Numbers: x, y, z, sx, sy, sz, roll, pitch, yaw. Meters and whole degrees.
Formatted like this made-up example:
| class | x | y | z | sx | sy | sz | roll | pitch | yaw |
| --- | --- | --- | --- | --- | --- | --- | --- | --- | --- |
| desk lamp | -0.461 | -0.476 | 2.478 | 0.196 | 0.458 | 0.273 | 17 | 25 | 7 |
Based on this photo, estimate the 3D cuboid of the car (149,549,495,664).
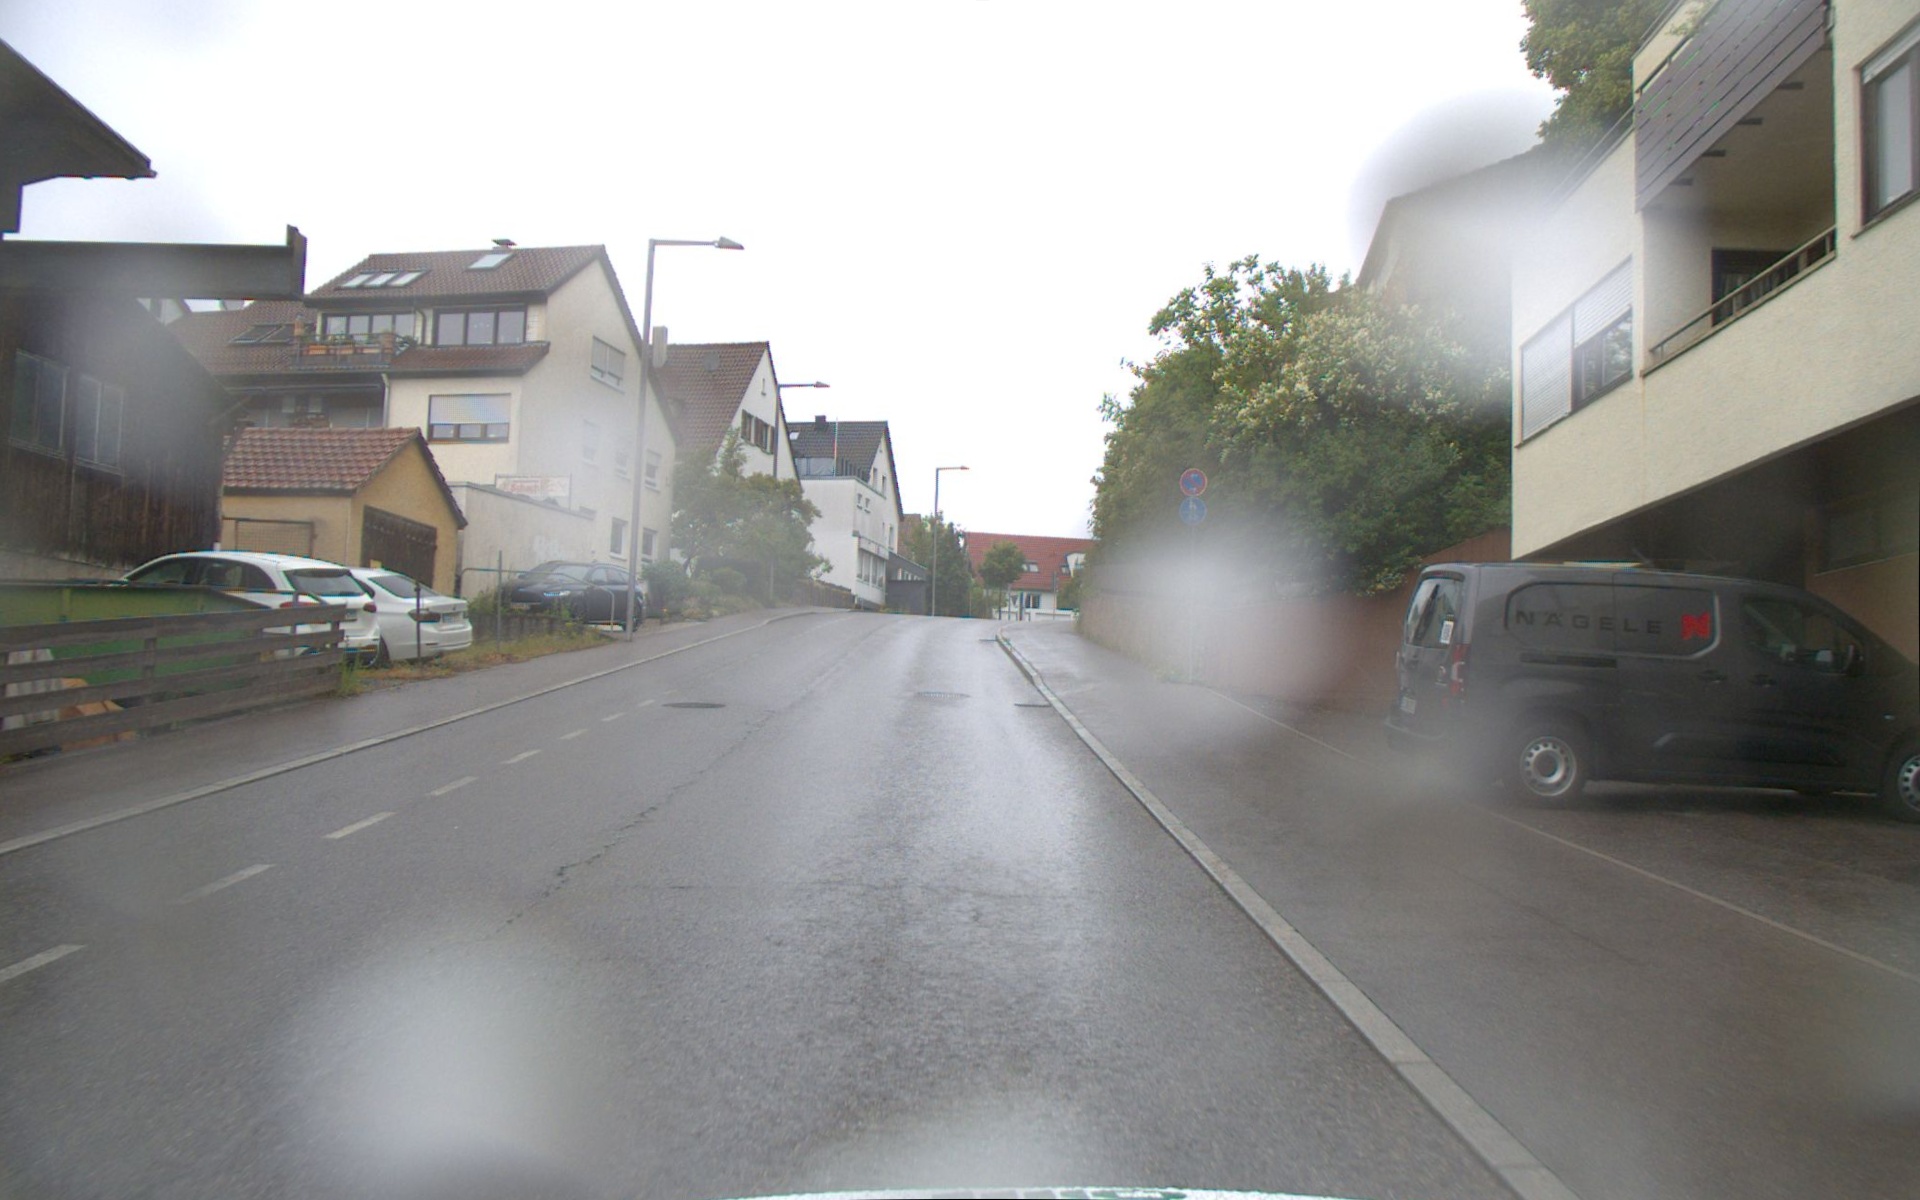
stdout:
| class | x | y | z | sx | sy | sz | roll | pitch | yaw |
| --- | --- | --- | --- | --- | --- | --- | --- | --- | --- |
| car | -9.368 | 0.084 | 24.410 | 4.400 | 1.531 | 1.902 | 1 | 0 | 11 |

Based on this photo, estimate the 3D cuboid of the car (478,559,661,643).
| class | x | y | z | sx | sy | sz | roll | pitch | yaw |
| --- | --- | --- | --- | --- | --- | --- | --- | --- | --- |
| car | -8.460 | 0.023 | 36.368 | 1.932 | 1.688 | 4.967 | 1 | 0 | 12 |

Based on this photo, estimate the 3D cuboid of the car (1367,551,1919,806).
| class | x | y | z | sx | sy | sz | roll | pitch | yaw |
| --- | --- | --- | --- | --- | --- | --- | --- | --- | --- |
| car | 5.864 | 0.595 | 13.401 | 4.612 | 1.852 | 2.000 | 1 | 0 | -1 |

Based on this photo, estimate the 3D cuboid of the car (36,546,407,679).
| class | x | y | z | sx | sy | sz | roll | pitch | yaw |
| --- | --- | --- | --- | --- | --- | --- | --- | --- | --- |
| car | -9.344 | 0.139 | 21.054 | 3.902 | 1.531 | 1.902 | 1 | 0 | 11 |

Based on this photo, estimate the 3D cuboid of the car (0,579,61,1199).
| class | x | y | z | sx | sy | sz | roll | pitch | yaw |
| --- | --- | --- | --- | --- | --- | --- | --- | --- | --- |
| car | -2.970 | 0.653 | 1.953 | 1.668 | 1.412 | 4.049 | -1 | -1 | -1 |
